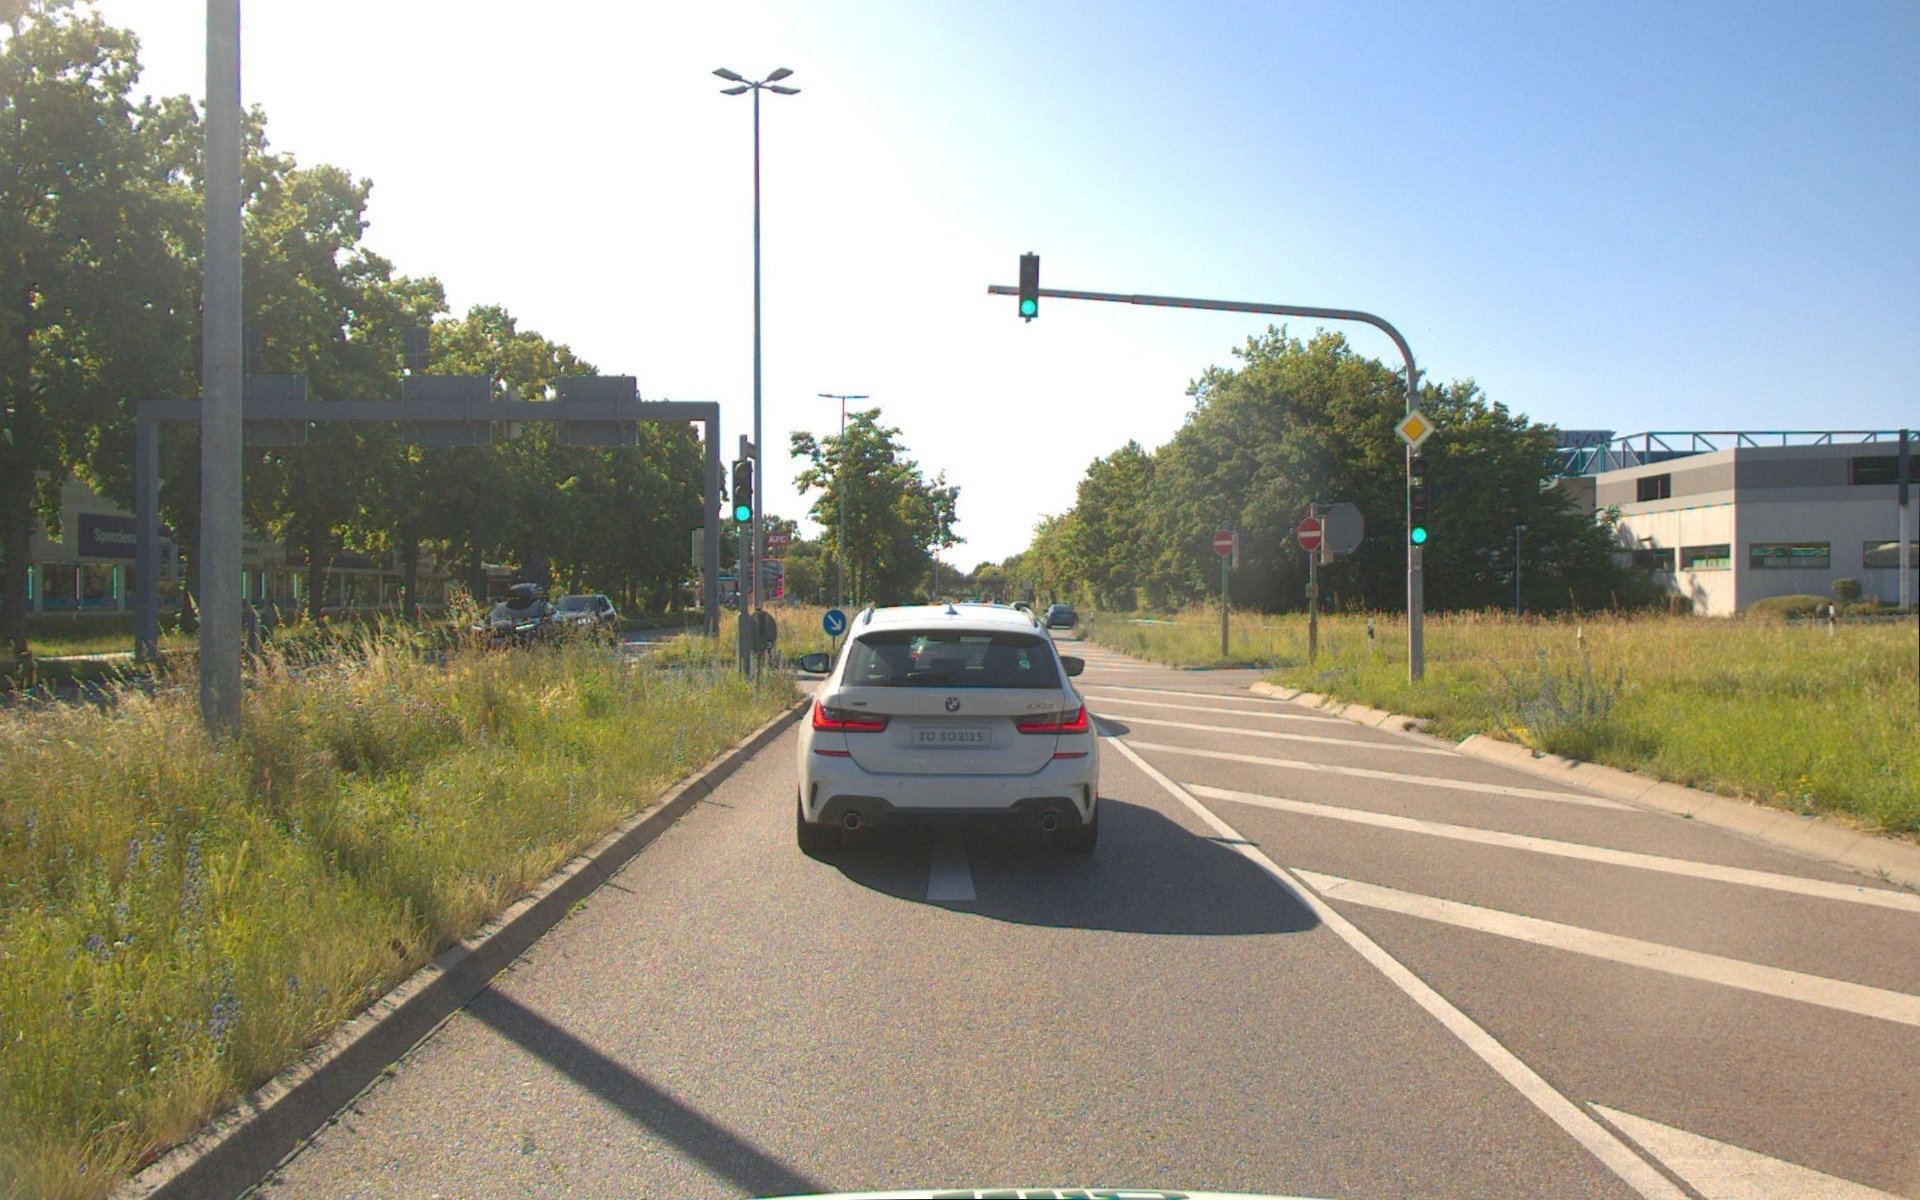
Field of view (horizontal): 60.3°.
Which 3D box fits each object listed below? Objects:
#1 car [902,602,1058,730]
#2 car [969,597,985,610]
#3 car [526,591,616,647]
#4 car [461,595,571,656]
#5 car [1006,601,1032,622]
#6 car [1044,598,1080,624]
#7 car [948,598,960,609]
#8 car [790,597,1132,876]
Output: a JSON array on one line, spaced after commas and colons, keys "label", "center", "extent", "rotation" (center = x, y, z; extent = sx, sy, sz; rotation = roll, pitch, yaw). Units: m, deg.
[{"label": "car", "center": [0.208, 0.772, 21.687], "extent": [1.824, 1.480, 4.547], "rotation": [0, 0, -1]}, {"label": "car", "center": [2.124, 0.475, 205.319], "extent": [1.824, 1.592, 4.547], "rotation": [0, 0, -1]}, {"label": "car", "center": [-12.998, 0.591, 55.531], "extent": [1.902, 1.726, 4.629], "rotation": [-2, 0, -1]}, {"label": "car", "center": [-12.478, 0.682, 46.742], "extent": [1.838, 1.569, 4.572], "rotation": [-2, 0, 0]}, {"label": "car", "center": [4.681, 0.921, 131.620], "extent": [1.736, 1.583, 3.831], "rotation": [0, 0, -2]}, {"label": "car", "center": [6.129, 0.624, 99.582], "extent": [1.824, 1.525, 4.335], "rotation": [0, 0, -1]}, {"label": "car", "center": [-0.977, 0.522, 251.784], "extent": [1.824, 1.592, 4.547], "rotation": [0, 0, -1]}, {"label": "car", "center": [0.003, 0.727, 11.111], "extent": [1.823, 1.480, 4.547], "rotation": [0, 0, 0]}]
